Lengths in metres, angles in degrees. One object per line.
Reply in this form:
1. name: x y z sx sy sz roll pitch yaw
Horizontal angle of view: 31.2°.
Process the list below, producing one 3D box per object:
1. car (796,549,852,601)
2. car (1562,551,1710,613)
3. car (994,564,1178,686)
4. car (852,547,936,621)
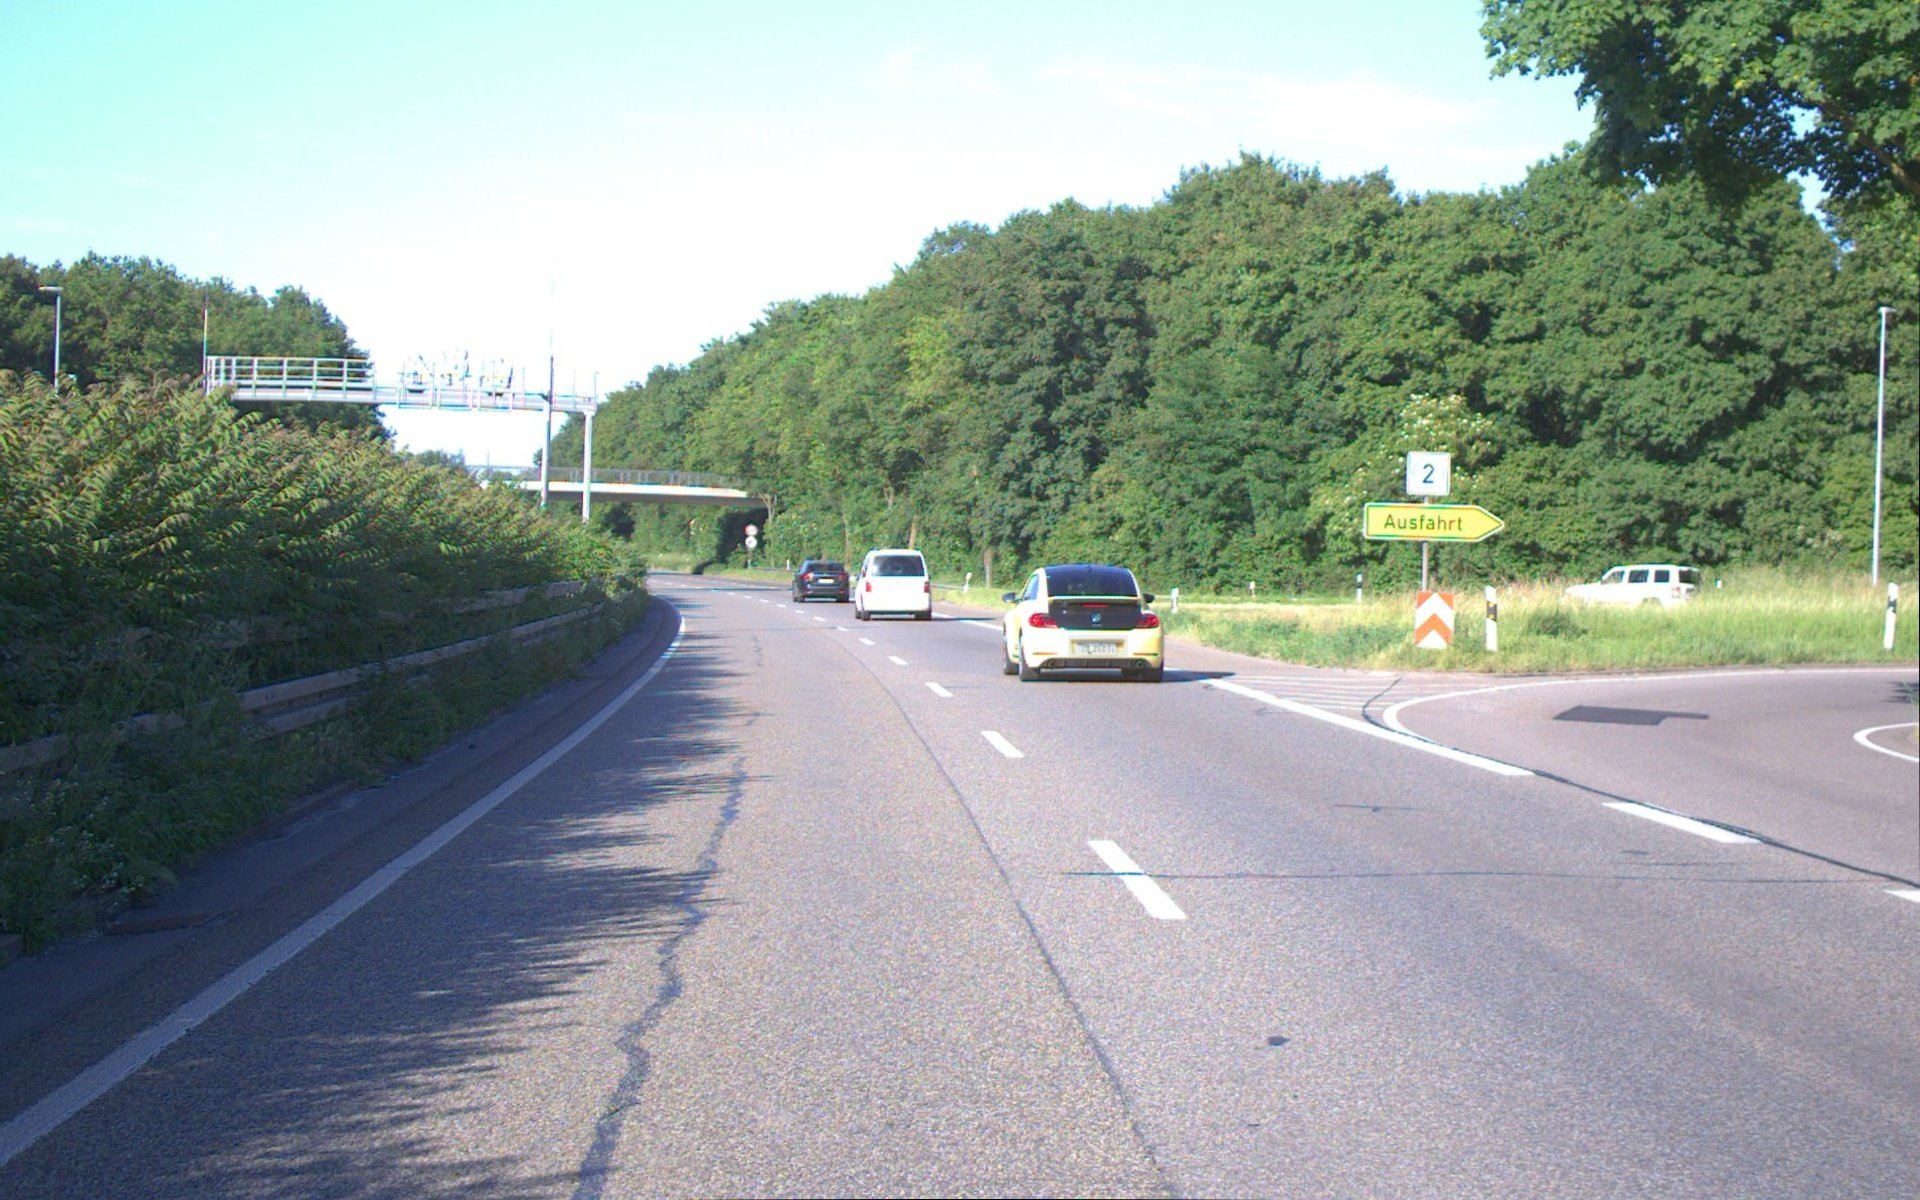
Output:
1. car: -4.753 -0.888 119.954 1.897 1.761 4.000 1 1 -2
2. car: 20.418 -0.551 103.875 3.997 1.817 1.898 1 1 45
3. car: 1.566 0.289 44.069 1.897 1.466 4.001 1 1 -4
4. car: -1.690 -0.420 86.992 1.897 1.761 4.001 2 1 -4
